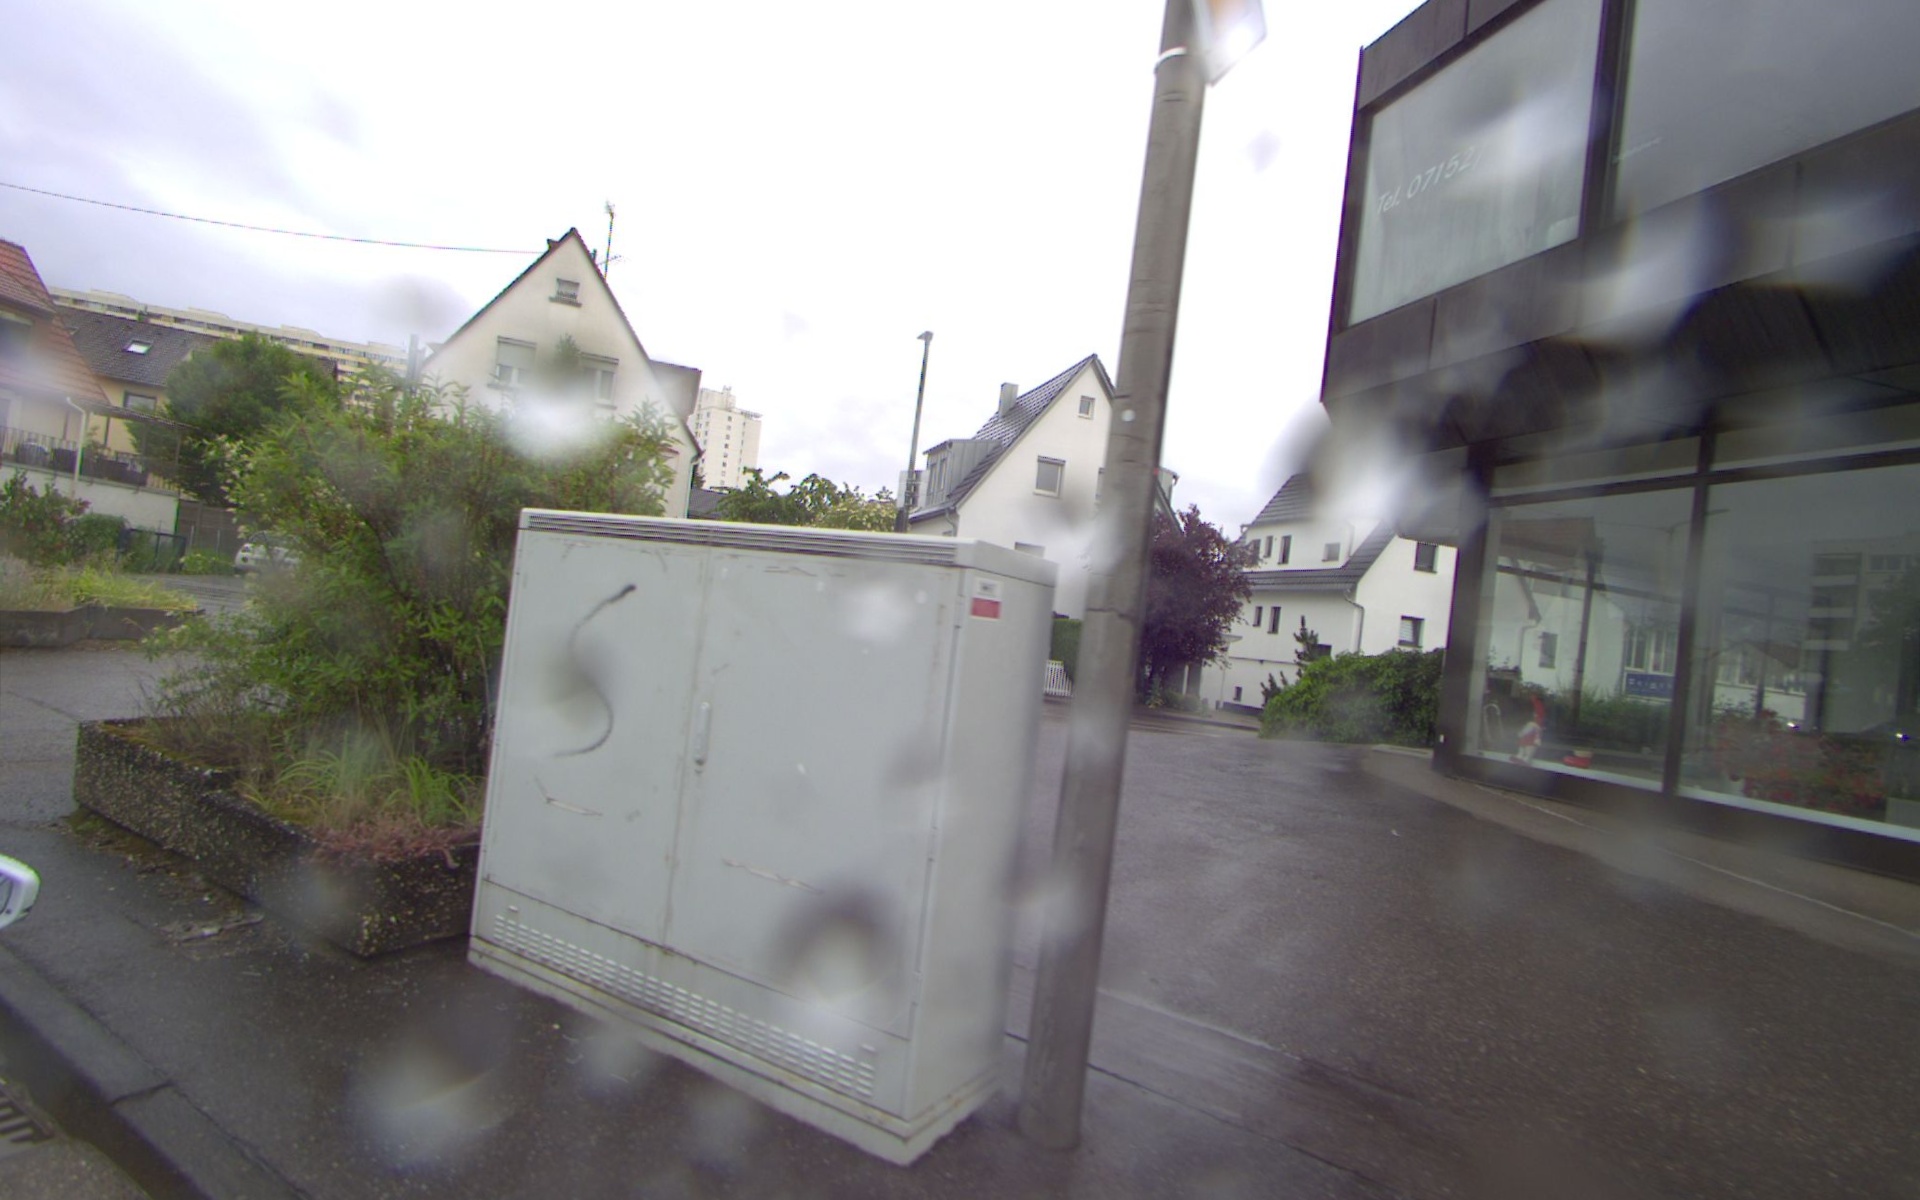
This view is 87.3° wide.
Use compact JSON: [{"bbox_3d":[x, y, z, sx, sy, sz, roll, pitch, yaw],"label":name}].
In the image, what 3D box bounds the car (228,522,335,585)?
[{"bbox_3d":[-20.735,-1.388,30.917,1.722,1.532,3.981,9,-1,-21],"label":"car"}]
